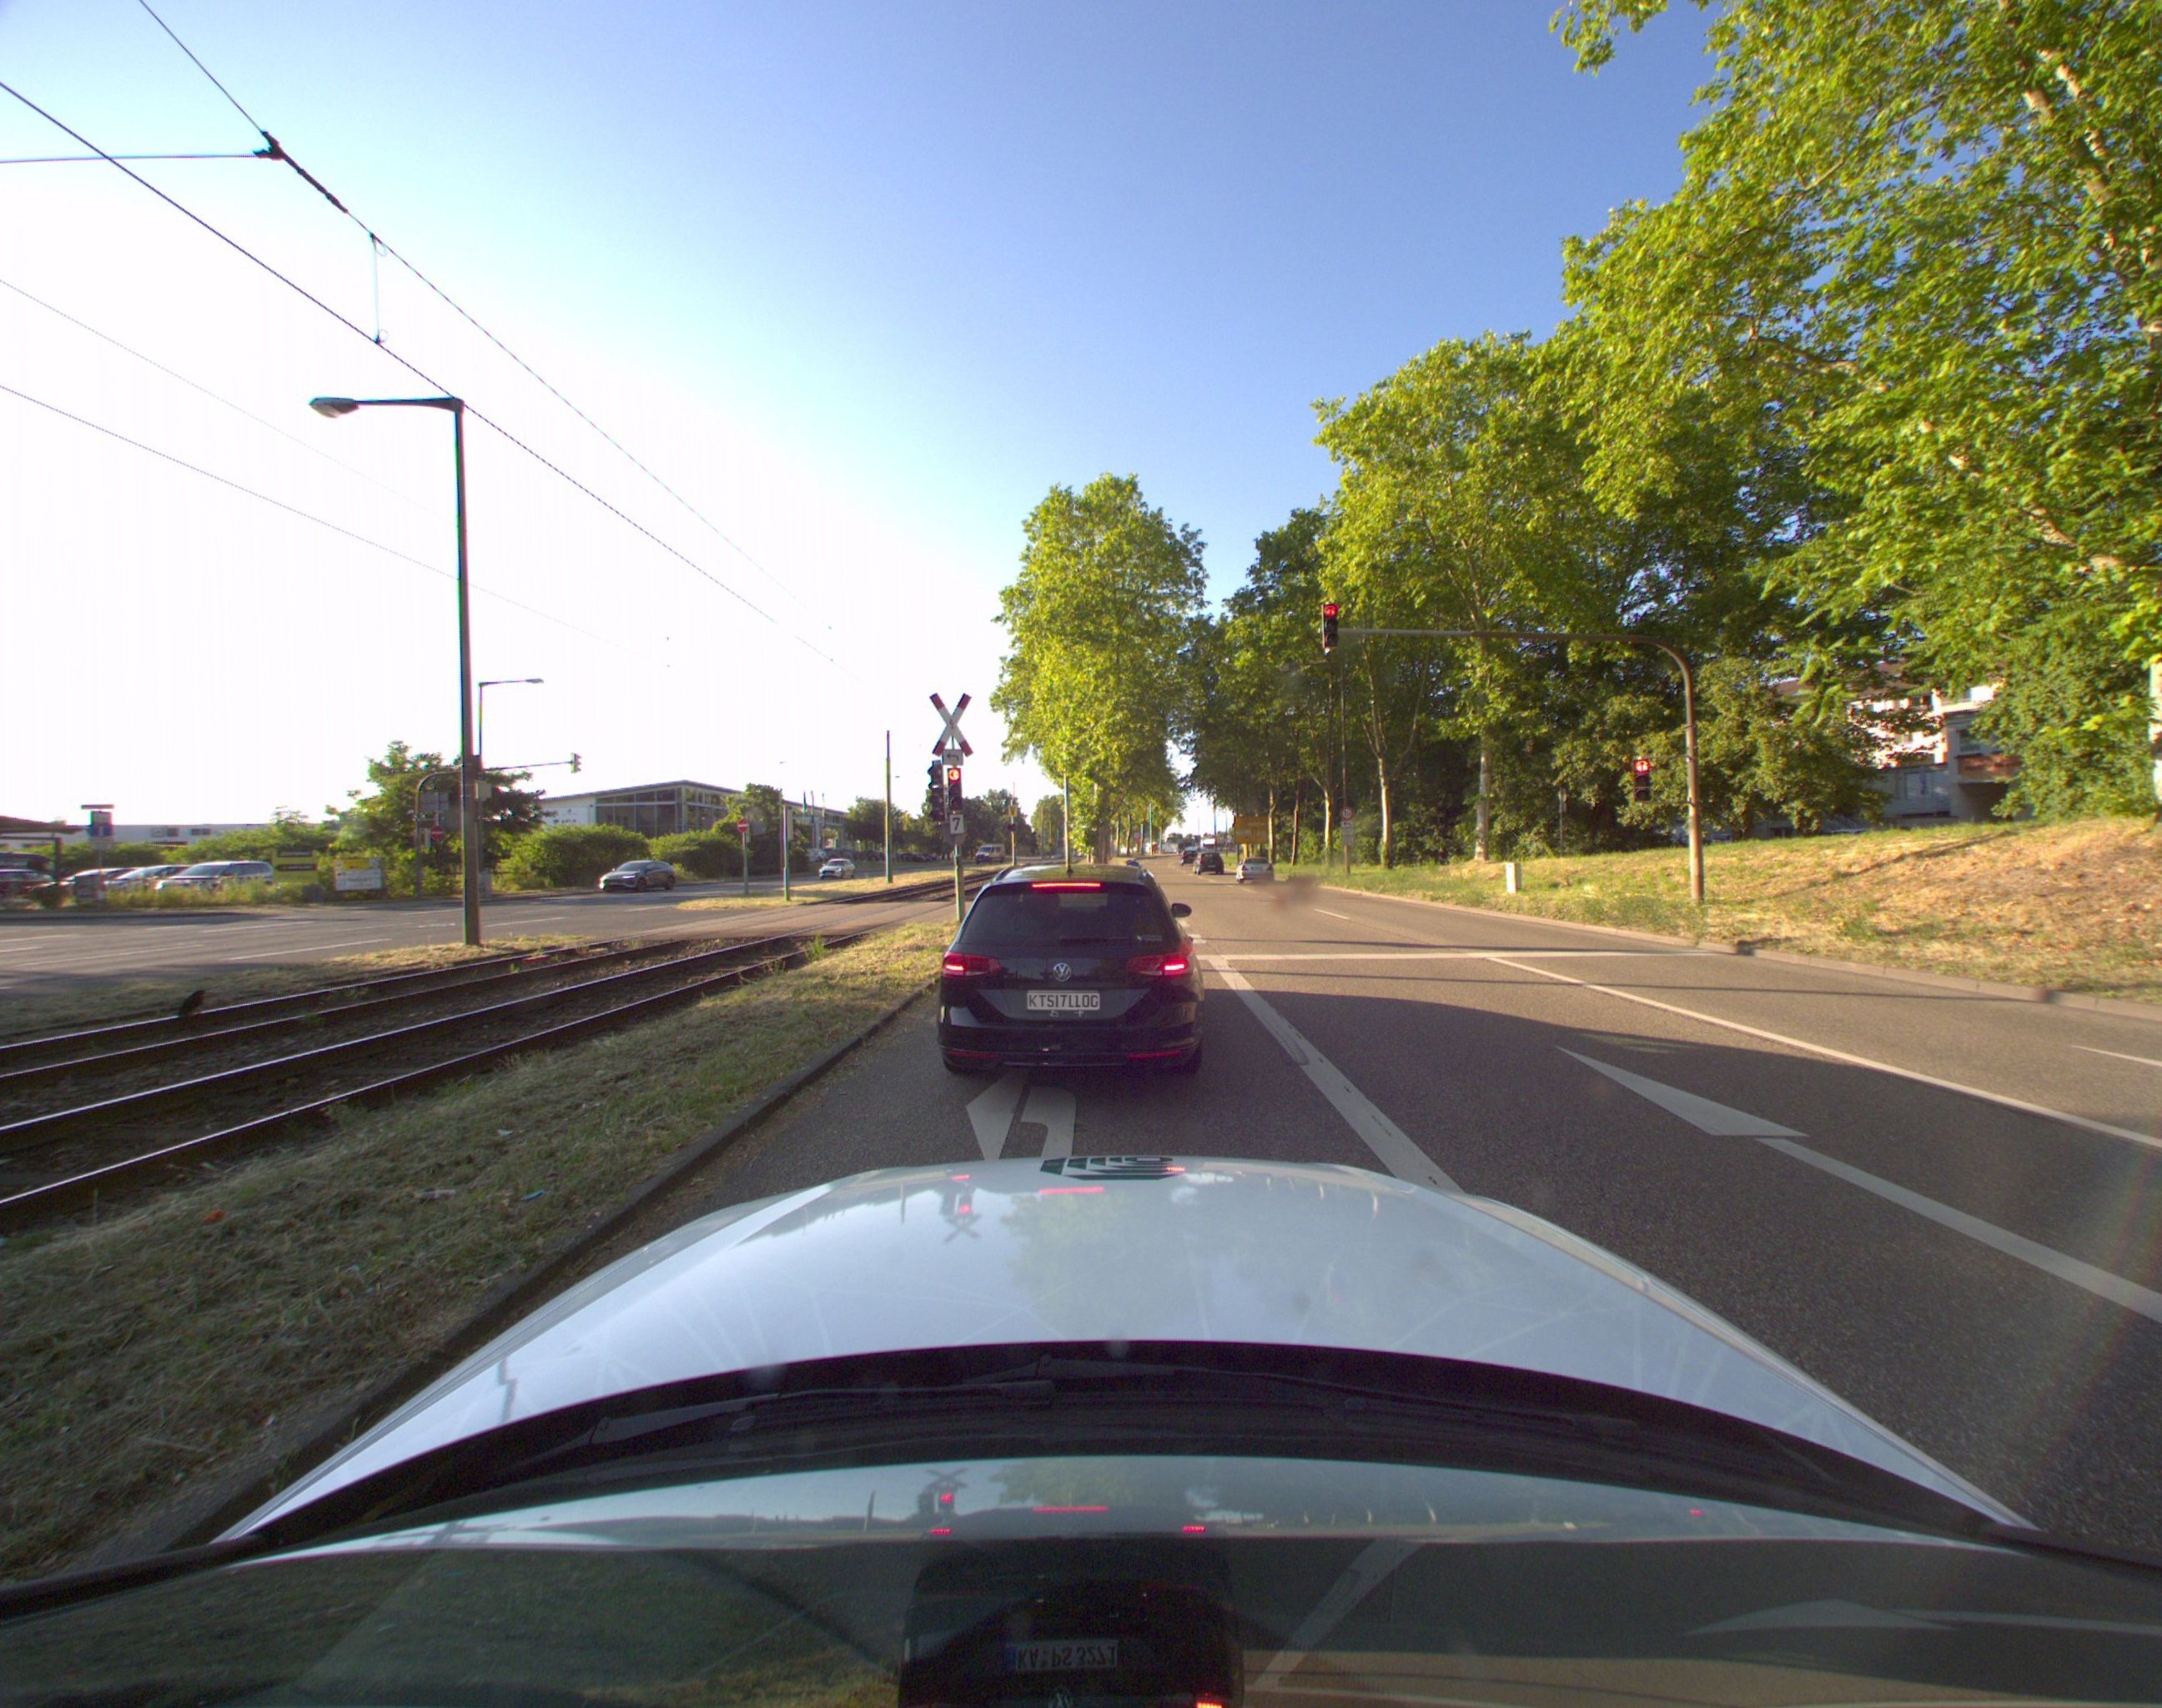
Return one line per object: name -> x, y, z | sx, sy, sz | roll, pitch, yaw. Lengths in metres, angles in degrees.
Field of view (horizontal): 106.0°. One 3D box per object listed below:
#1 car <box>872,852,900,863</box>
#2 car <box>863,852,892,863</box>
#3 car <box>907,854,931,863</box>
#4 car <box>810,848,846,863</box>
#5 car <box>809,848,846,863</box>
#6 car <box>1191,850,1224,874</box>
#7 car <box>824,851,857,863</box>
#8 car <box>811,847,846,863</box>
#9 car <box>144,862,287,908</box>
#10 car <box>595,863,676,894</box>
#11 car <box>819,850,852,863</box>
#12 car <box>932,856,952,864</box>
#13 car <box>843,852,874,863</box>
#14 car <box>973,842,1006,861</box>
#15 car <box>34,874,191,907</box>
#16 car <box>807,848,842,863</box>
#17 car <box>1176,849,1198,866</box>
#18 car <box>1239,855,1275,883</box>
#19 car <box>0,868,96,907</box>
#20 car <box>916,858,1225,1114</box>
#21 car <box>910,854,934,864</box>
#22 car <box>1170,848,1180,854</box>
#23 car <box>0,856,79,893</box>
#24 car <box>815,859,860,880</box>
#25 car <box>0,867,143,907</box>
car -> -30.129, 0.593, 125.946 | 3.978, 1.621, 1.742 | -1, 0, -3
car -> -30.617, 0.549, 122.744 | 3.978, 1.621, 1.742 | -1, 0, -3
car -> -29.116, 0.870, 146.838 | 3.978, 1.621, 1.742 | -1, 0, -3
car -> -29.958, 0.168, 96.382 | 3.999, 1.704, 1.732 | -1, 0, -19
car -> -29.268, 0.150, 94.113 | 3.999, 1.704, 1.732 | -1, 0, -19
car -> 8.606, 0.509, 55.572 | 1.701, 1.561, 4.168 | -1, 0, 2
car -> -31.374, 0.349, 106.207 | 3.999, 1.556, 1.732 | -1, 0, -19
car -> -30.610, 0.132, 98.736 | 3.999, 1.816, 1.732 | -1, 0, -19
car -> -38.525, 1.327, 36.408 | 1.855, 1.821, 4.174 | 0, 0, 2
car -> -23.691, 1.265, 43.480 | 1.854, 1.481, 4.176 | 0, 0, 3
car -> -31.159, 0.304, 103.416 | 3.999, 1.556, 1.732 | -1, 0, -19
car -> -28.825, 1.186, 168.919 | 3.977, 1.556, 1.742 | -1, 0, -2
car -> -31.446, 0.479, 115.312 | 3.983, 1.556, 1.739 | -1, 0, -7
car -> -12.048, -0.291, 107.898 | 2.078, 2.461, 5.880 | 0, 0, 19
car -> -42.472, 1.568, 35.886 | 1.855, 1.267, 4.174 | 0, 0, 2
car -> -31.653, 0.134, 100.517 | 3.999, 1.816, 1.732 | -1, 0, -19
car -> 10.813, 0.385, 83.340 | 1.864, 1.635, 4.373 | -1, 0, 3
car -> 8.827, 0.720, 41.069 | 1.599, 1.294, 3.993 | 0, 0, 9
car -> -47.161, 1.458, 36.042 | 1.970, 1.583, 4.174 | 0, 0, 2
car -> -0.017, 0.775, 6.524 | 1.788, 1.464, 3.584 | 0, 0, 1
car -> -29.269, 0.914, 150.006 | 3.978, 1.621, 1.742 | -1, 0, -3
car -> 24.357, -0.756, 212.045 | 1.988, 1.420, 3.997 | -1, 0, -2
car -> -60.424, 1.160, 45.900 | 1.855, 2.014, 4.773 | 0, 0, 2
car -> -18.686, 1.144, 62.750 | 1.852, 1.481, 4.098 | 0, 0, 6
car -> -44.712, 1.409, 35.889 | 1.855, 1.583, 4.174 | 0, 0, 2
